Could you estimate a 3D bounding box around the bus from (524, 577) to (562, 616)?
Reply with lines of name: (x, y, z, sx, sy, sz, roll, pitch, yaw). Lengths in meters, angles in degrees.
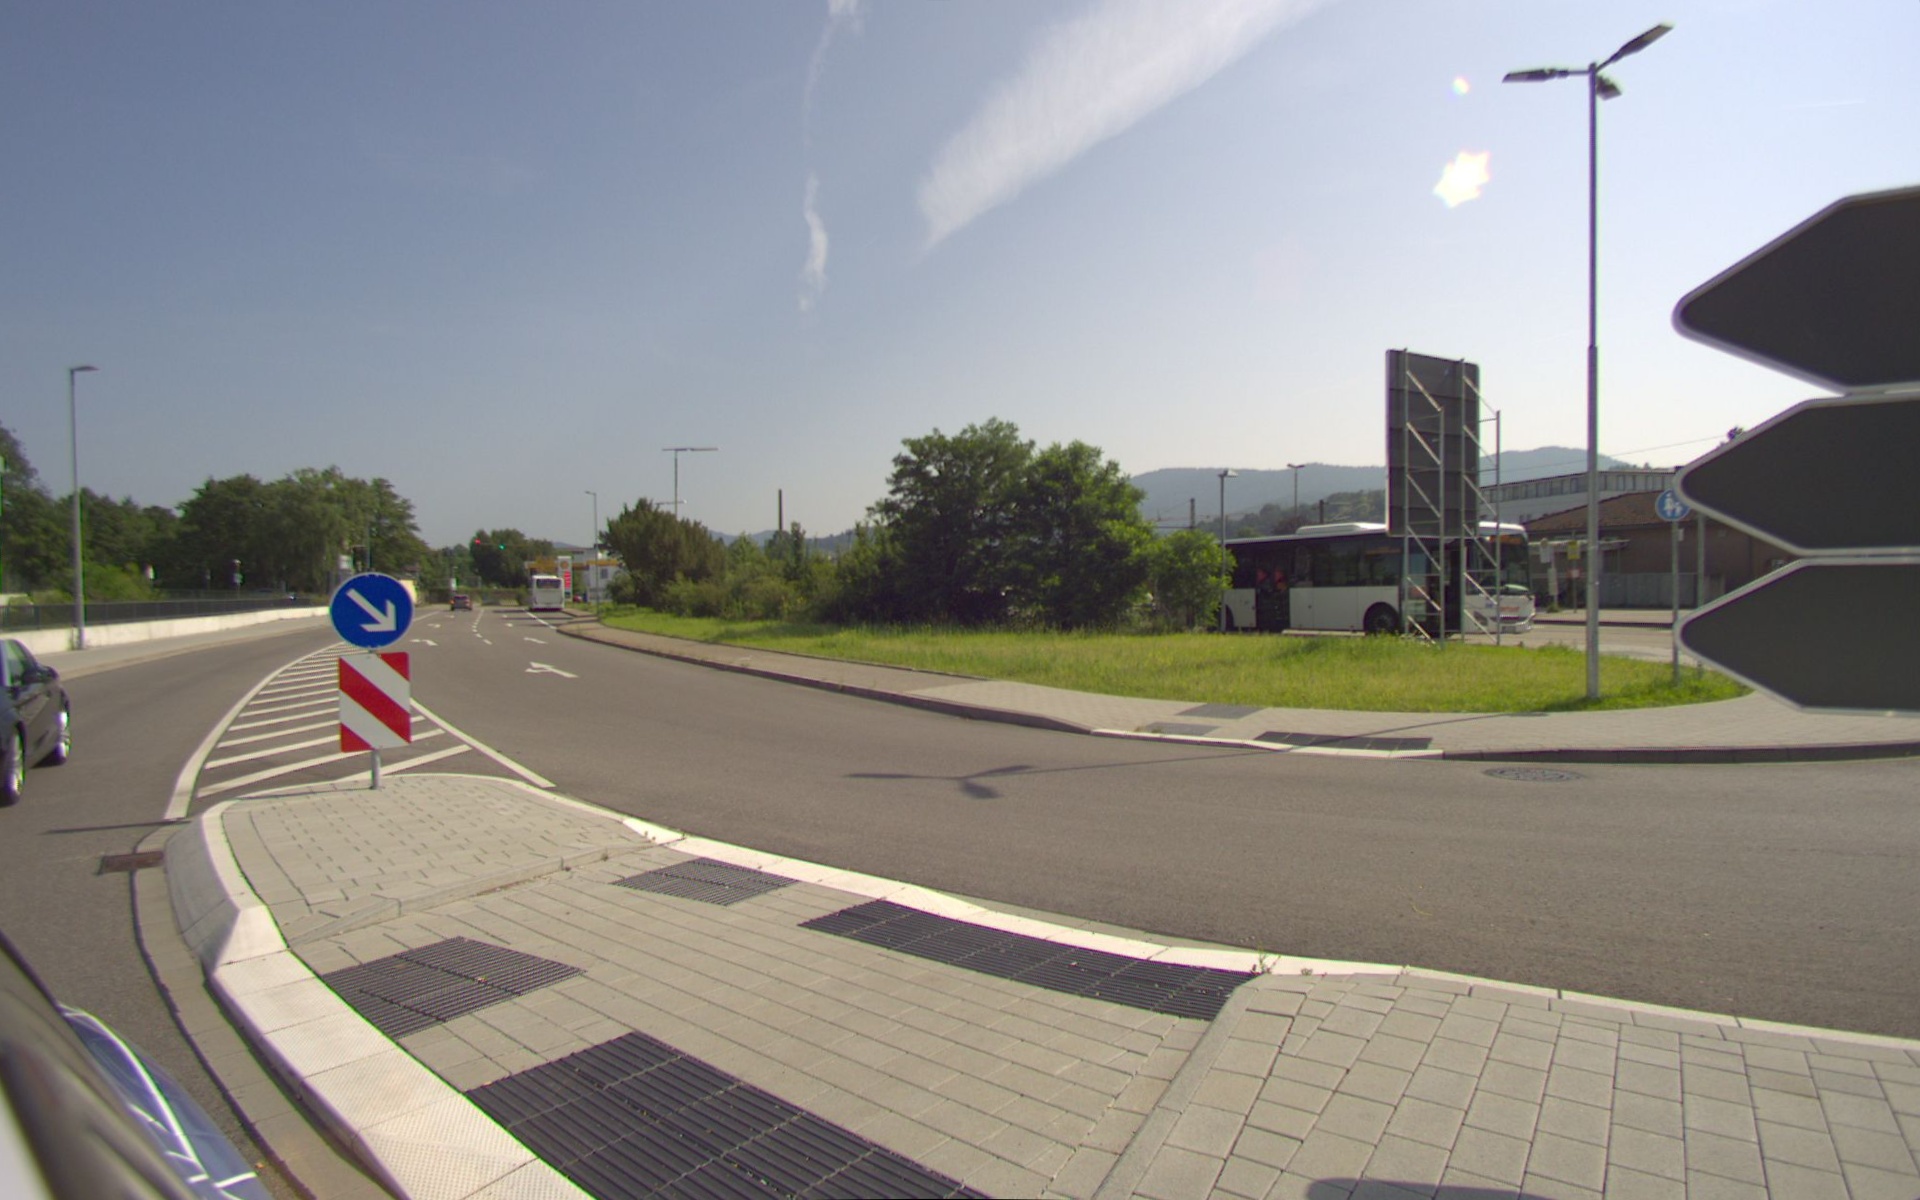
bus: (-37.917, -0.334, 91.857, 2.583, 3.335, 11.997, 0, 0, -25)

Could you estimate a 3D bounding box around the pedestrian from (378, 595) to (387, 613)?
pedestrian: (-55.229, 0.398, 96.775, 0.700, 1.684, 0.595, 0, 0, -31)

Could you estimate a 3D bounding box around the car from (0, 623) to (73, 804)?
car: (-8.998, 0.909, 8.522, 1.839, 1.340, 4.242, -1, 0, -35)

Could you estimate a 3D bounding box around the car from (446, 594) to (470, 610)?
car: (-46.470, 0.181, 93.722, 1.747, 1.484, 4.234, 0, 0, -24)

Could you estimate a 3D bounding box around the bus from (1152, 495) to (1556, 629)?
bus: (10.661, -0.869, 29.641, 3.022, 3.147, 11.757, -1, 0, -29)

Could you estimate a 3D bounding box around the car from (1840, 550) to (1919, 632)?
car: (24.157, -0.209, 23.855, 1.814, 1.960, 4.898, 0, 0, -20)

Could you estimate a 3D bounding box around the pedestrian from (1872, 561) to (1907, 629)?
pedestrian: (27.628, -0.150, 30.083, 0.522, 2.029, 0.578, 0, 0, -4)
